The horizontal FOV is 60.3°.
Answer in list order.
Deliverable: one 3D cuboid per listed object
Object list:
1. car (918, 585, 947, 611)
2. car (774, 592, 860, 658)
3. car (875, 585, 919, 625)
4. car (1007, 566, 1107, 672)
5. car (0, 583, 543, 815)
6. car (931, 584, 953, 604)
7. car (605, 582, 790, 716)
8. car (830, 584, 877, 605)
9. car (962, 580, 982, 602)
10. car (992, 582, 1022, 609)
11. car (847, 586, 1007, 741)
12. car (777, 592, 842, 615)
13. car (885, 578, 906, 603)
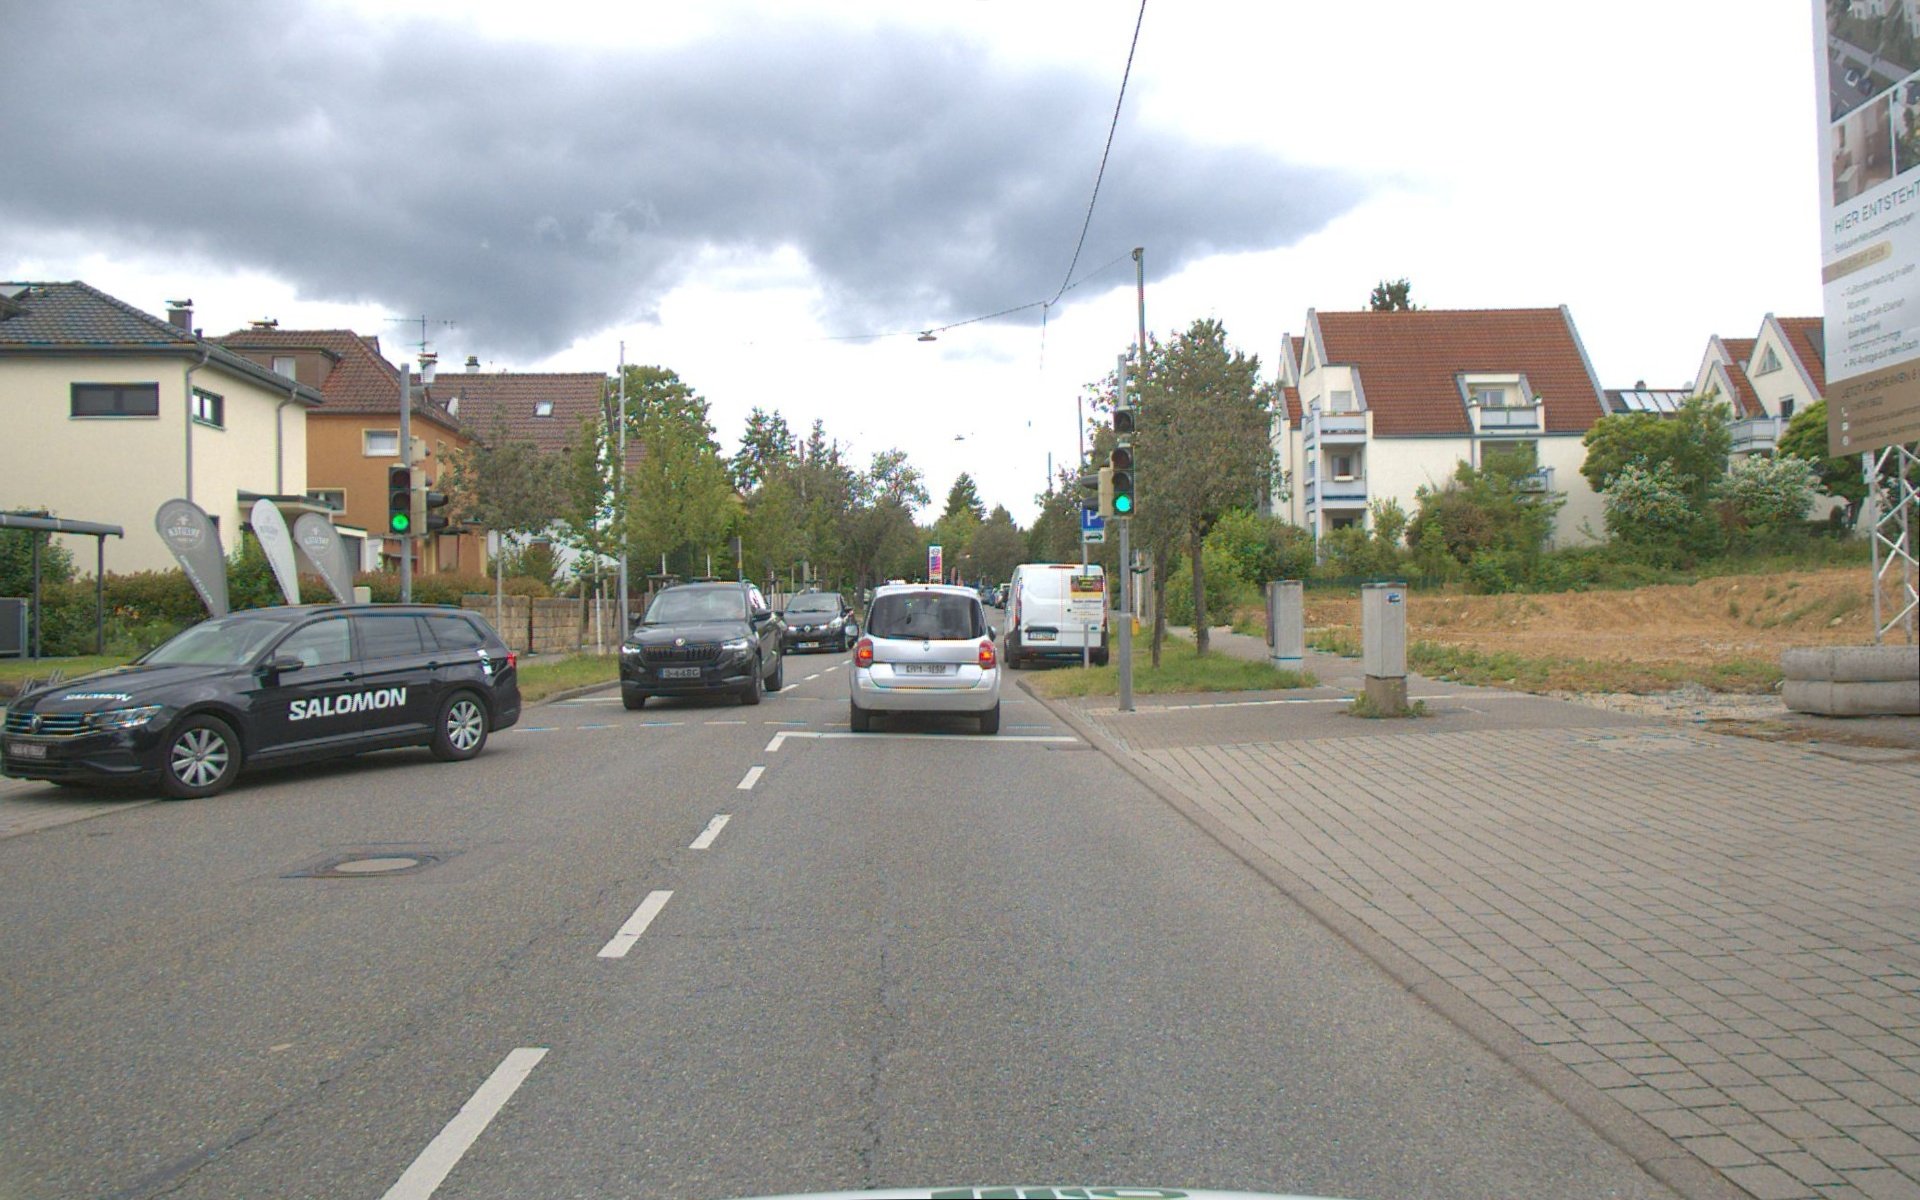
[{"bbox_3d":[-1.925,-0.153,117.068,1.758,1.782,4.299,-2,0,1],"label":"car"},{"bbox_3d":[-3.492,0.583,40.957,1.582,1.497,4.001,-1,0,2],"label":"car"},{"bbox_3d":[-2.844,0.217,75.506,1.776,1.722,4.466,-2,0,0],"label":"car"},{"bbox_3d":[1.882,0.343,33.240,1.738,1.977,4.789,0,0,0],"label":"car"},{"bbox_3d":[-5.978,0.710,14.480,1.955,1.649,4.643,-1,0,27],"label":"car"},{"bbox_3d":[-1.633,-0.575,151.013,1.799,1.743,3.998,-2,0,-3],"label":"car"},{"bbox_3d":[-3.501,0.594,22.789,1.856,1.652,4.000,-1,0,0],"label":"car"},{"bbox_3d":[-9.451,-0.514,147.315,4.002,1.735,1.747,-1,0,1],"label":"car"},{"bbox_3d":[1.601,-1.173,223.600,2.237,2.962,5.274,1,0,-5],"label":"car"},{"bbox_3d":[3.310,-0.316,116.408,1.763,1.809,4.702,1,0,-3],"label":"car"},{"bbox_3d":[-0.308,0.648,18.930,1.645,1.587,3.512,1,0,1],"label":"car"},{"bbox_3d":[-9.927,0.230,109.070,4.195,1.392,1.814,1,0,-6],"label":"car"},{"bbox_3d":[-7.275,-1.089,187.676,2.031,2.627,5.300,-3,0,0],"label":"car"}]
